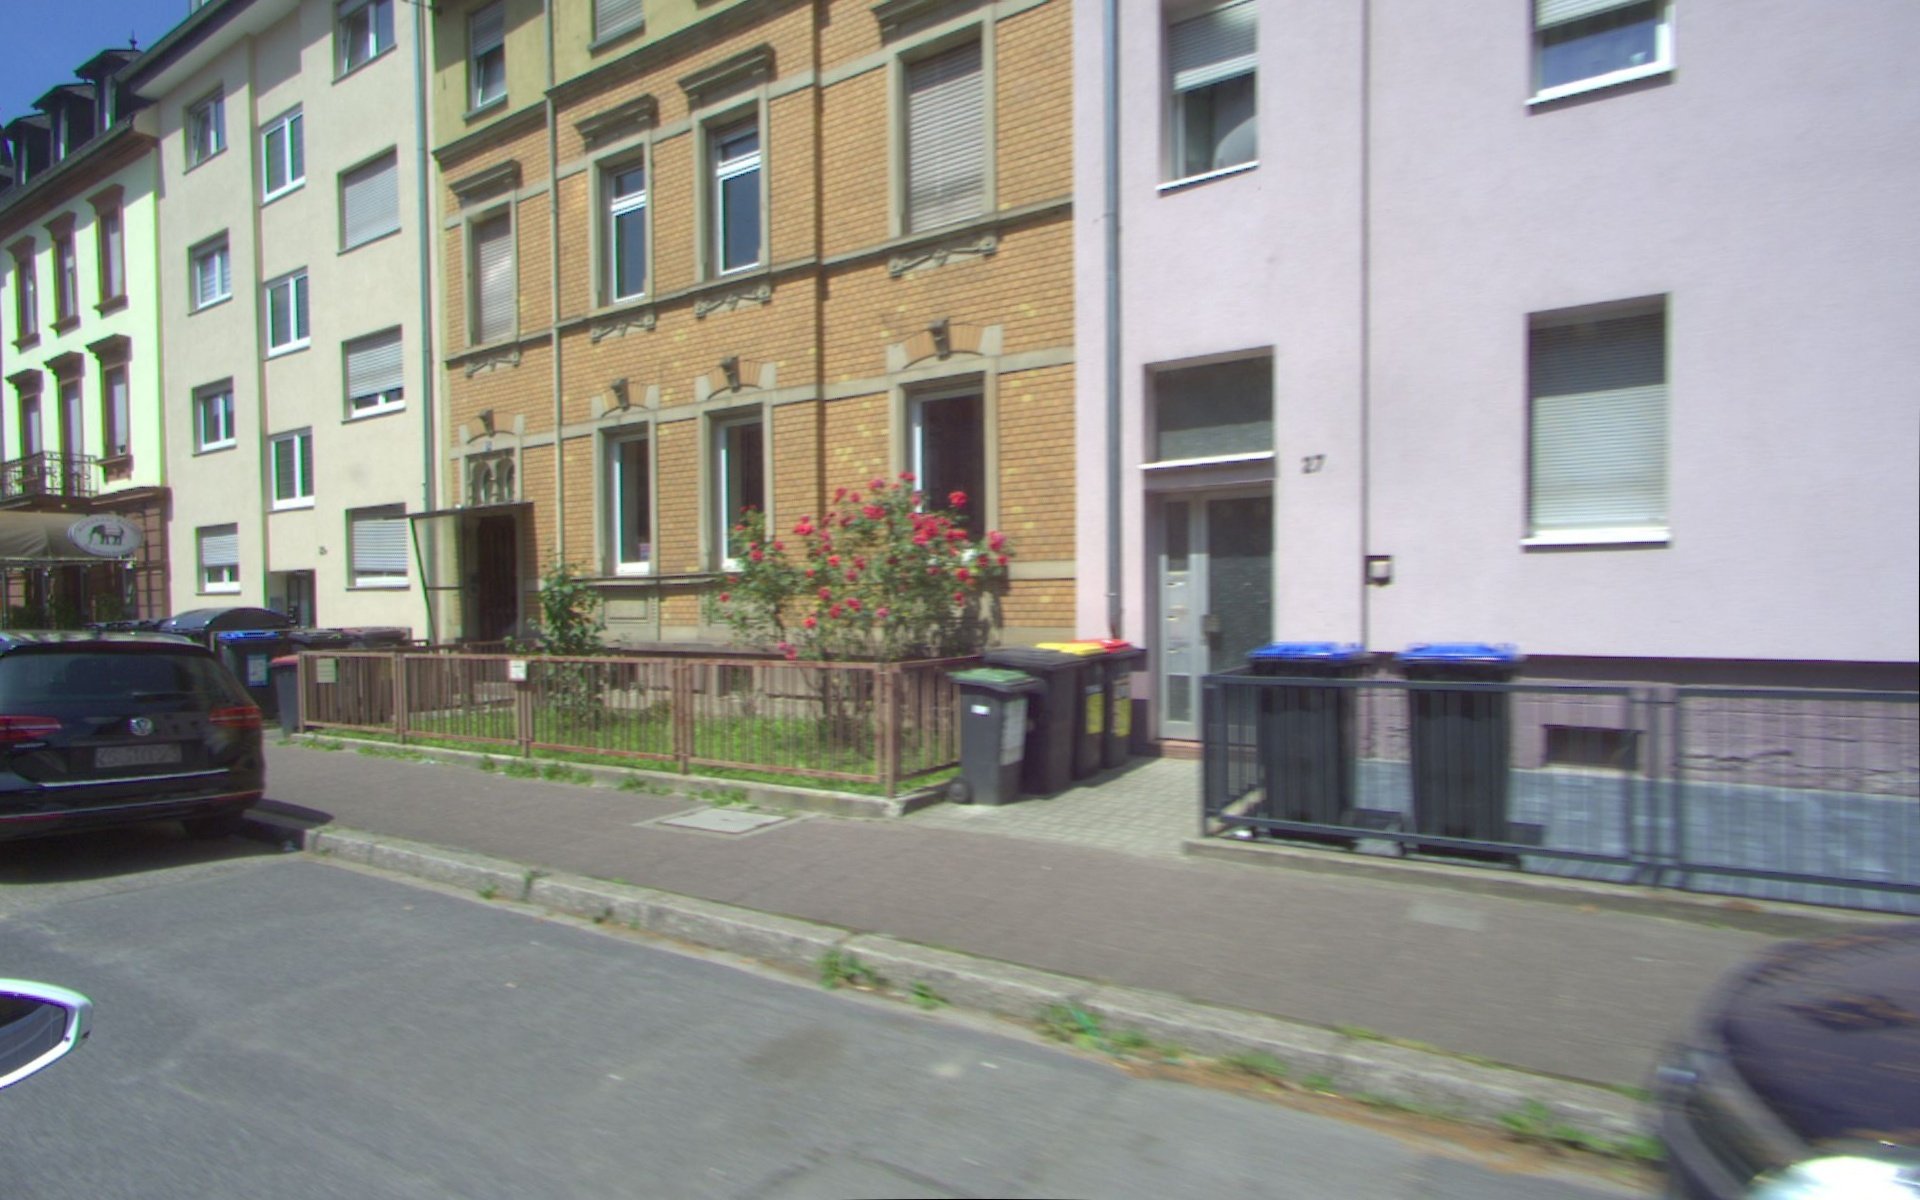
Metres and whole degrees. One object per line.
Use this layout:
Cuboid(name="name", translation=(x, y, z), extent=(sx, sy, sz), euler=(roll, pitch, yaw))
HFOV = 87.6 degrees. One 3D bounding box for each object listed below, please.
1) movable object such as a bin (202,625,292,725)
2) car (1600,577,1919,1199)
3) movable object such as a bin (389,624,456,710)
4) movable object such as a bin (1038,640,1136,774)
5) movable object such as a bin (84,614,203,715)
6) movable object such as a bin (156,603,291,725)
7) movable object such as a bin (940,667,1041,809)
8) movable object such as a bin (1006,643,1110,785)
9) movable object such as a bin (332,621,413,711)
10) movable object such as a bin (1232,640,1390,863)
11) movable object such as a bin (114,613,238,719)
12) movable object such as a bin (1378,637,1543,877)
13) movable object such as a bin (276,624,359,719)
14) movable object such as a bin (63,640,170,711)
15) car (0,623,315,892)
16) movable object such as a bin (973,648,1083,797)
Cuboid(name="movable object such as a bin", translation=(-8.917, 0.917, 12.526), extent=(0.898, 1.192, 0.637), euler=(0, -1, 34))
Cuboid(name="car", translation=(3.214, 0.738, 0.743), extent=(4.550, 1.506, 1.693), euler=(-1, -2, 31))
Cuboid(name="movable object such as a bin", translation=(-7.731, 0.946, 14.403), extent=(0.617, 1.192, 0.637), euler=(0, -1, 34))
Cuboid(name="movable object such as a bin", translation=(1.092, 0.891, 8.568), extent=(0.658, 1.064, 0.558), euler=(0, 1, 30))
Cuboid(name="movable object such as a bin", translation=(-12.085, 0.922, 14.826), extent=(1.237, 1.420, 1.040), euler=(0, -1, 34))
Cuboid(name="movable object such as a bin", translation=(-9.891, 0.822, 13.447), extent=(1.426, 1.537, 1.040), euler=(0, -1, 34))
Cuboid(name="movable object such as a bin", translation=(0.223, 0.963, 7.158), extent=(0.556, 0.925, 0.466), euler=(0, 1, 31))
Cuboid(name="movable object such as a bin", translation=(0.795, 0.891, 8.067), extent=(0.658, 1.064, 0.558), euler=(0, 1, 30))
Cuboid(name="movable object such as a bin", translation=(-8.094, 0.887, 13.806), extent=(0.840, 1.192, 0.666), euler=(0, -1, 34))
Cuboid(name="movable object such as a bin", translation=(1.943, 0.783, 5.524), extent=(0.674, 1.097, 0.650), euler=(0, 1, 35))
Cuboid(name="movable object such as a bin", translation=(-11.056, 0.897, 14.133), extent=(1.237, 1.420, 1.040), euler=(0, -1, 34))
Cuboid(name="movable object such as a bin", translation=(2.573, 0.750, 5.135), extent=(0.674, 1.097, 0.650), euler=(0, 1, 35))
Cuboid(name="movable object such as a bin", translation=(-8.475, 0.927, 13.203), extent=(0.840, 1.202, 0.637), euler=(0, -1, 34))
Cuboid(name="movable object such as a bin", translation=(-13.011, 1.138, 15.454), extent=(0.978, 1.036, 1.040), euler=(0, -1, 34))
Cuboid(name="car", translation=(-6.889, 0.915, 7.305), extent=(4.550, 1.483, 1.858), euler=(-1, -2, 31))
Cuboid(name="movable object such as a bin", translation=(0.516, 0.897, 7.575), extent=(0.658, 1.046, 0.527), euler=(0, 1, 30))
